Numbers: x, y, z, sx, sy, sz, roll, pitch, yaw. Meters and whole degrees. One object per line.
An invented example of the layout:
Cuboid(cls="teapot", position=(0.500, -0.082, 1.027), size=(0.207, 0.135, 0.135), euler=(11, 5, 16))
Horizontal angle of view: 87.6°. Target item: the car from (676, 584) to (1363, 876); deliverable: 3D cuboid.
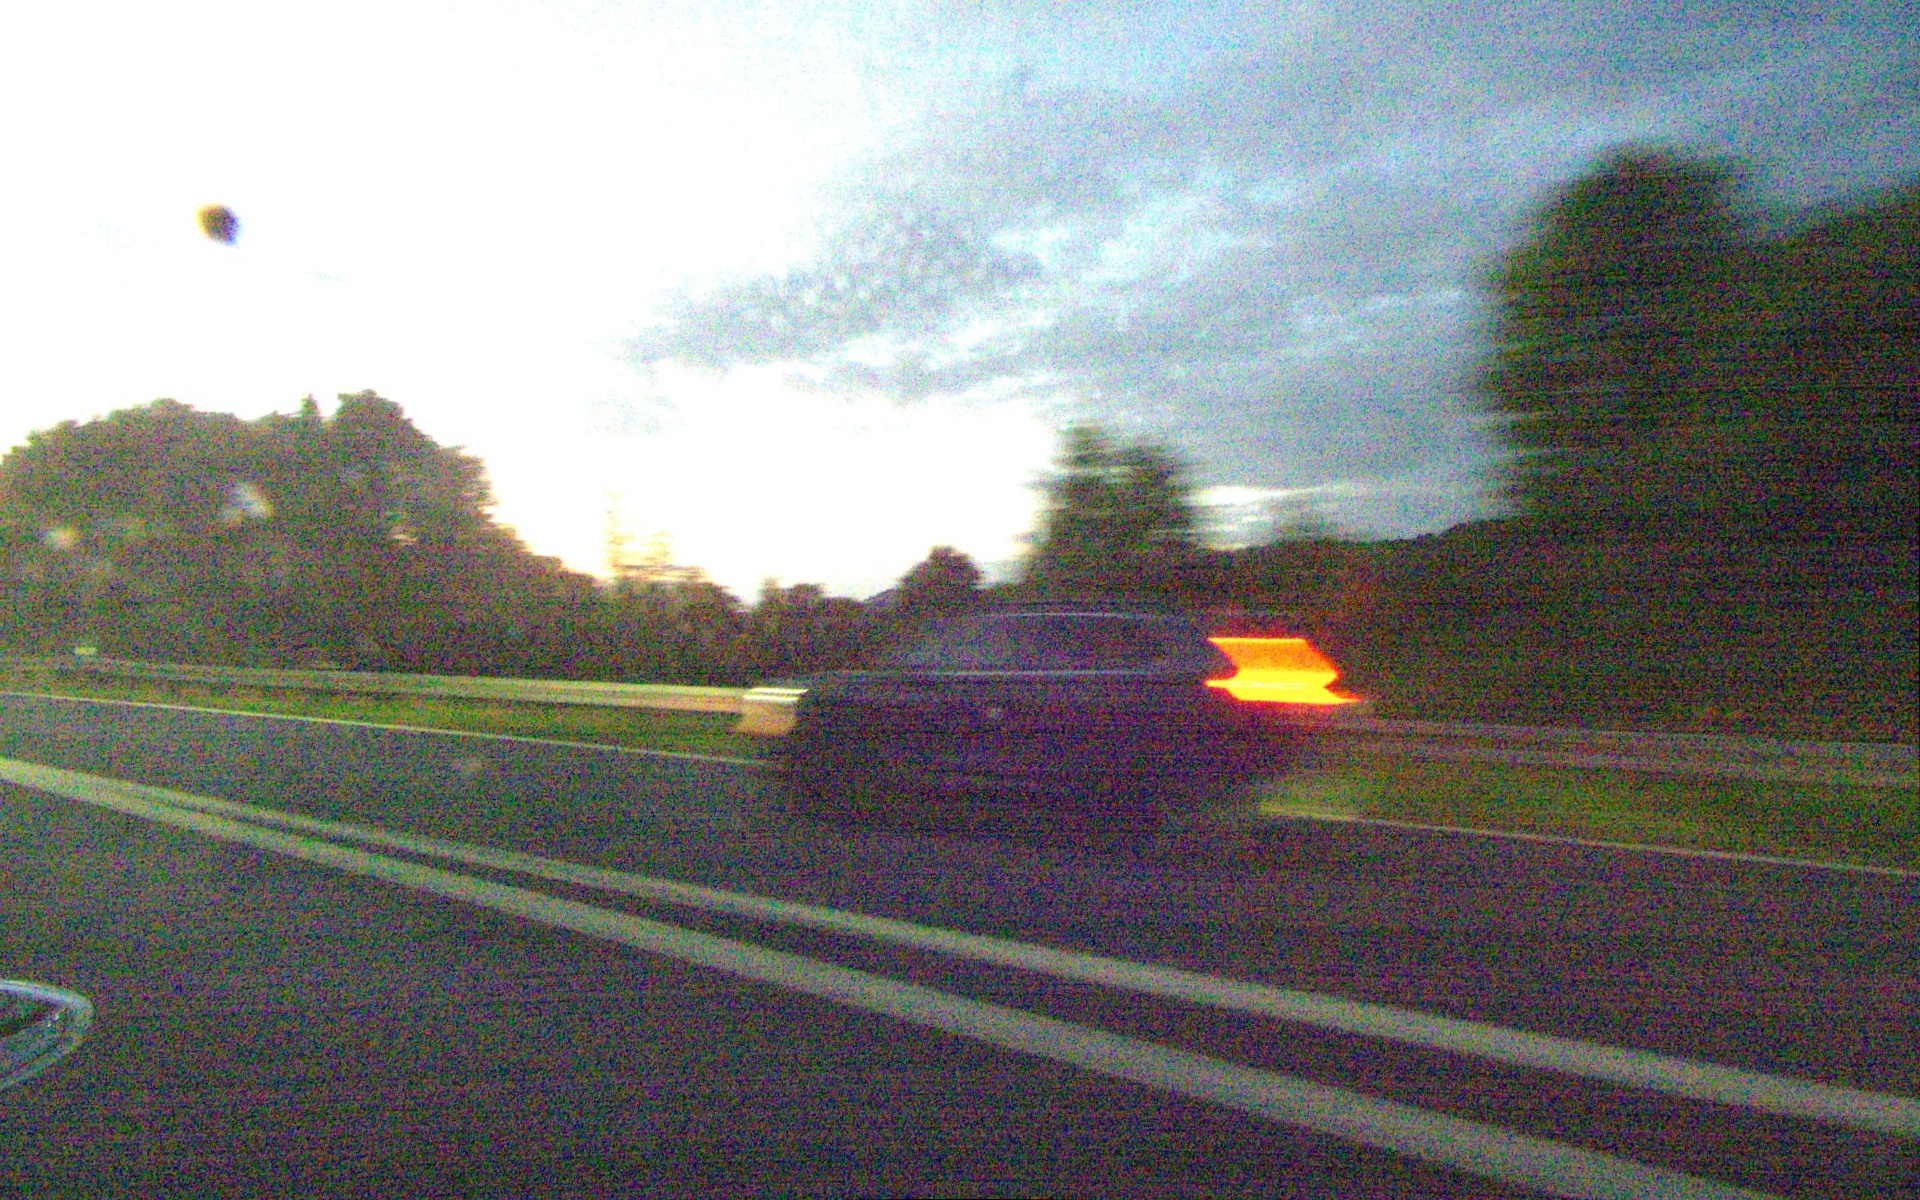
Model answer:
Cuboid(cls="car", position=(0.294, 0.809, 7.785), size=(5.083, 1.666, 1.796), euler=(-1, -2, 30))
